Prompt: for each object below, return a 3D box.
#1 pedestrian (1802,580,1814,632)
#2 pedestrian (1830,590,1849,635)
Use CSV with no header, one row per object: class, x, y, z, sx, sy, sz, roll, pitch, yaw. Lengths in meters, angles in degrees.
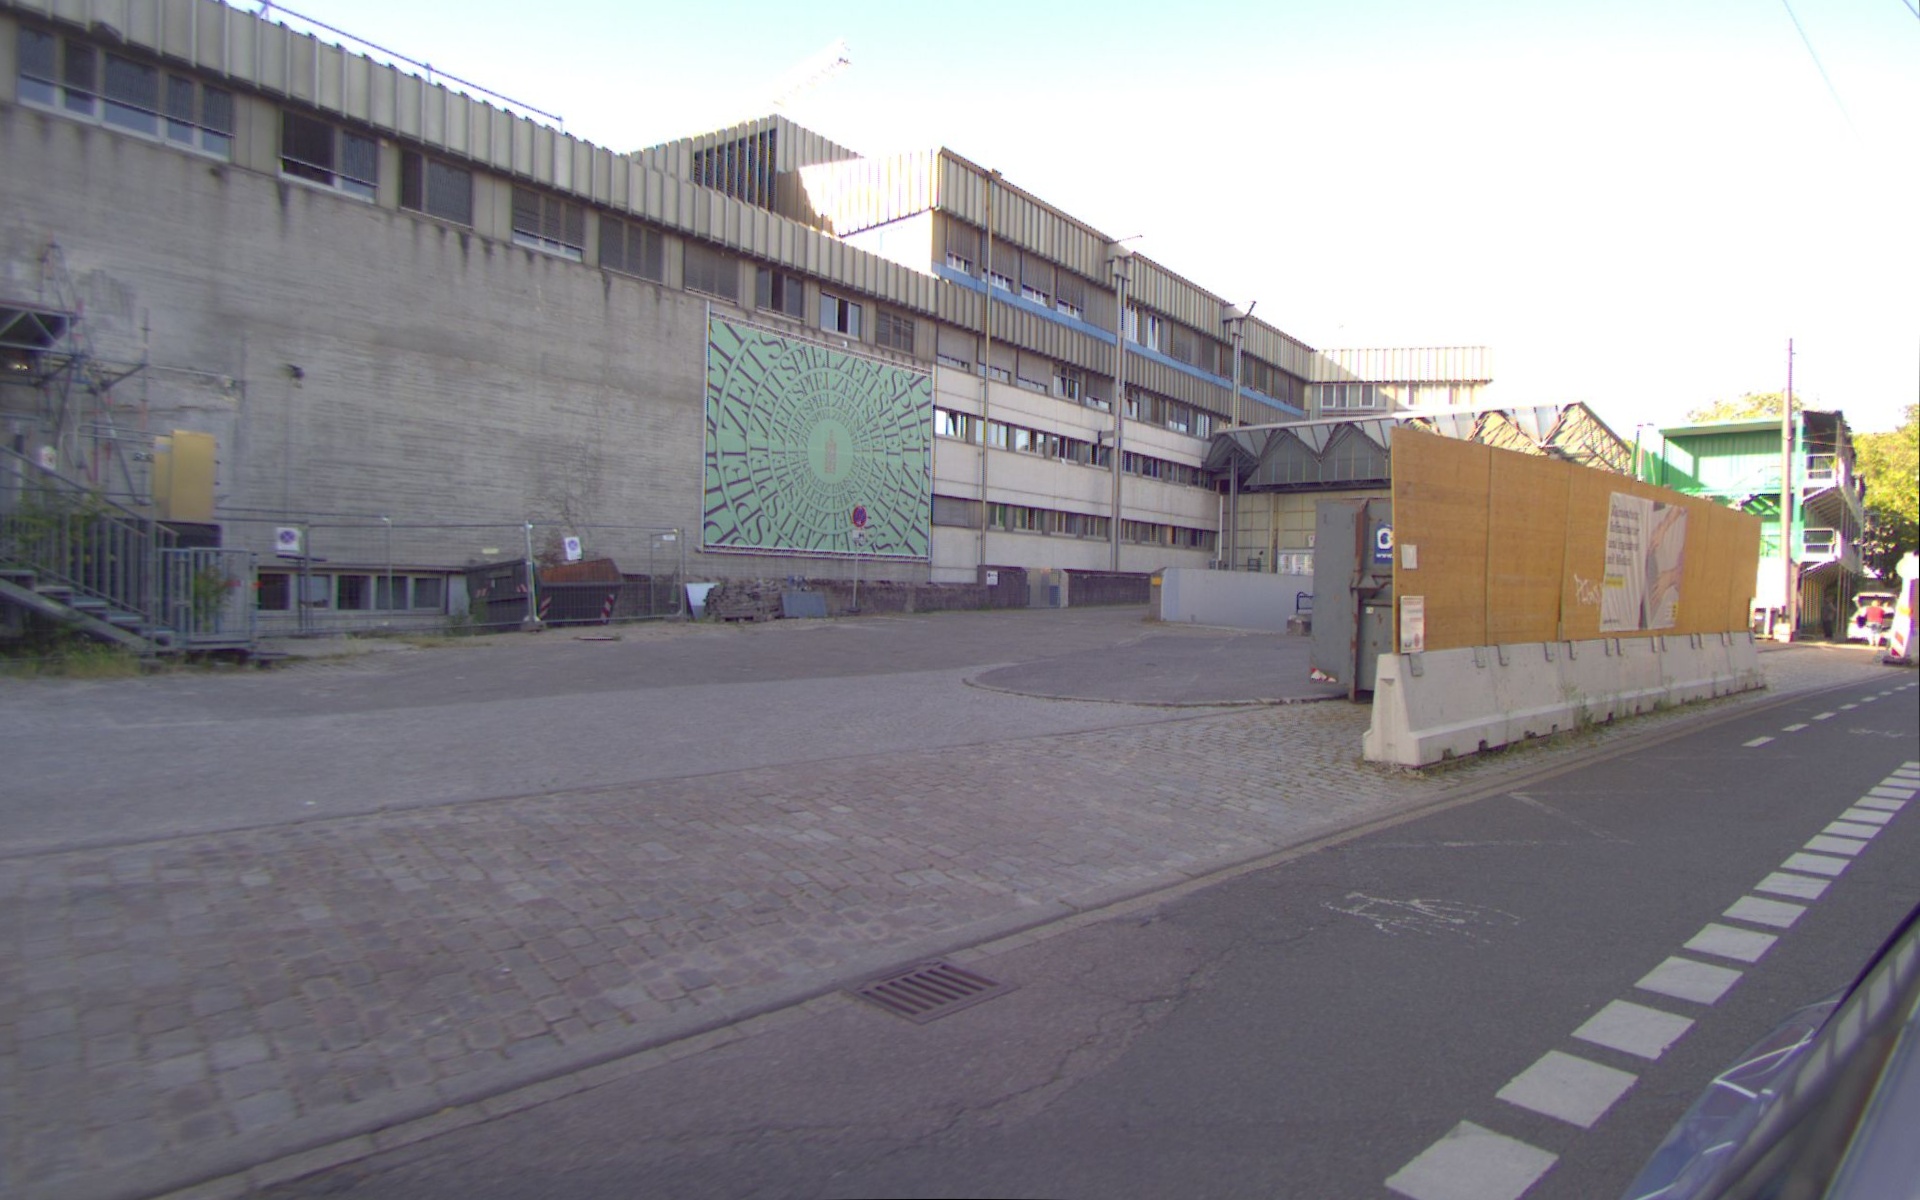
pedestrian,34.114,0.231,40.719,0.306,2.071,0.347,2,1,44
pedestrian,34.960,0.481,40.236,0.445,1.780,0.373,2,1,30
